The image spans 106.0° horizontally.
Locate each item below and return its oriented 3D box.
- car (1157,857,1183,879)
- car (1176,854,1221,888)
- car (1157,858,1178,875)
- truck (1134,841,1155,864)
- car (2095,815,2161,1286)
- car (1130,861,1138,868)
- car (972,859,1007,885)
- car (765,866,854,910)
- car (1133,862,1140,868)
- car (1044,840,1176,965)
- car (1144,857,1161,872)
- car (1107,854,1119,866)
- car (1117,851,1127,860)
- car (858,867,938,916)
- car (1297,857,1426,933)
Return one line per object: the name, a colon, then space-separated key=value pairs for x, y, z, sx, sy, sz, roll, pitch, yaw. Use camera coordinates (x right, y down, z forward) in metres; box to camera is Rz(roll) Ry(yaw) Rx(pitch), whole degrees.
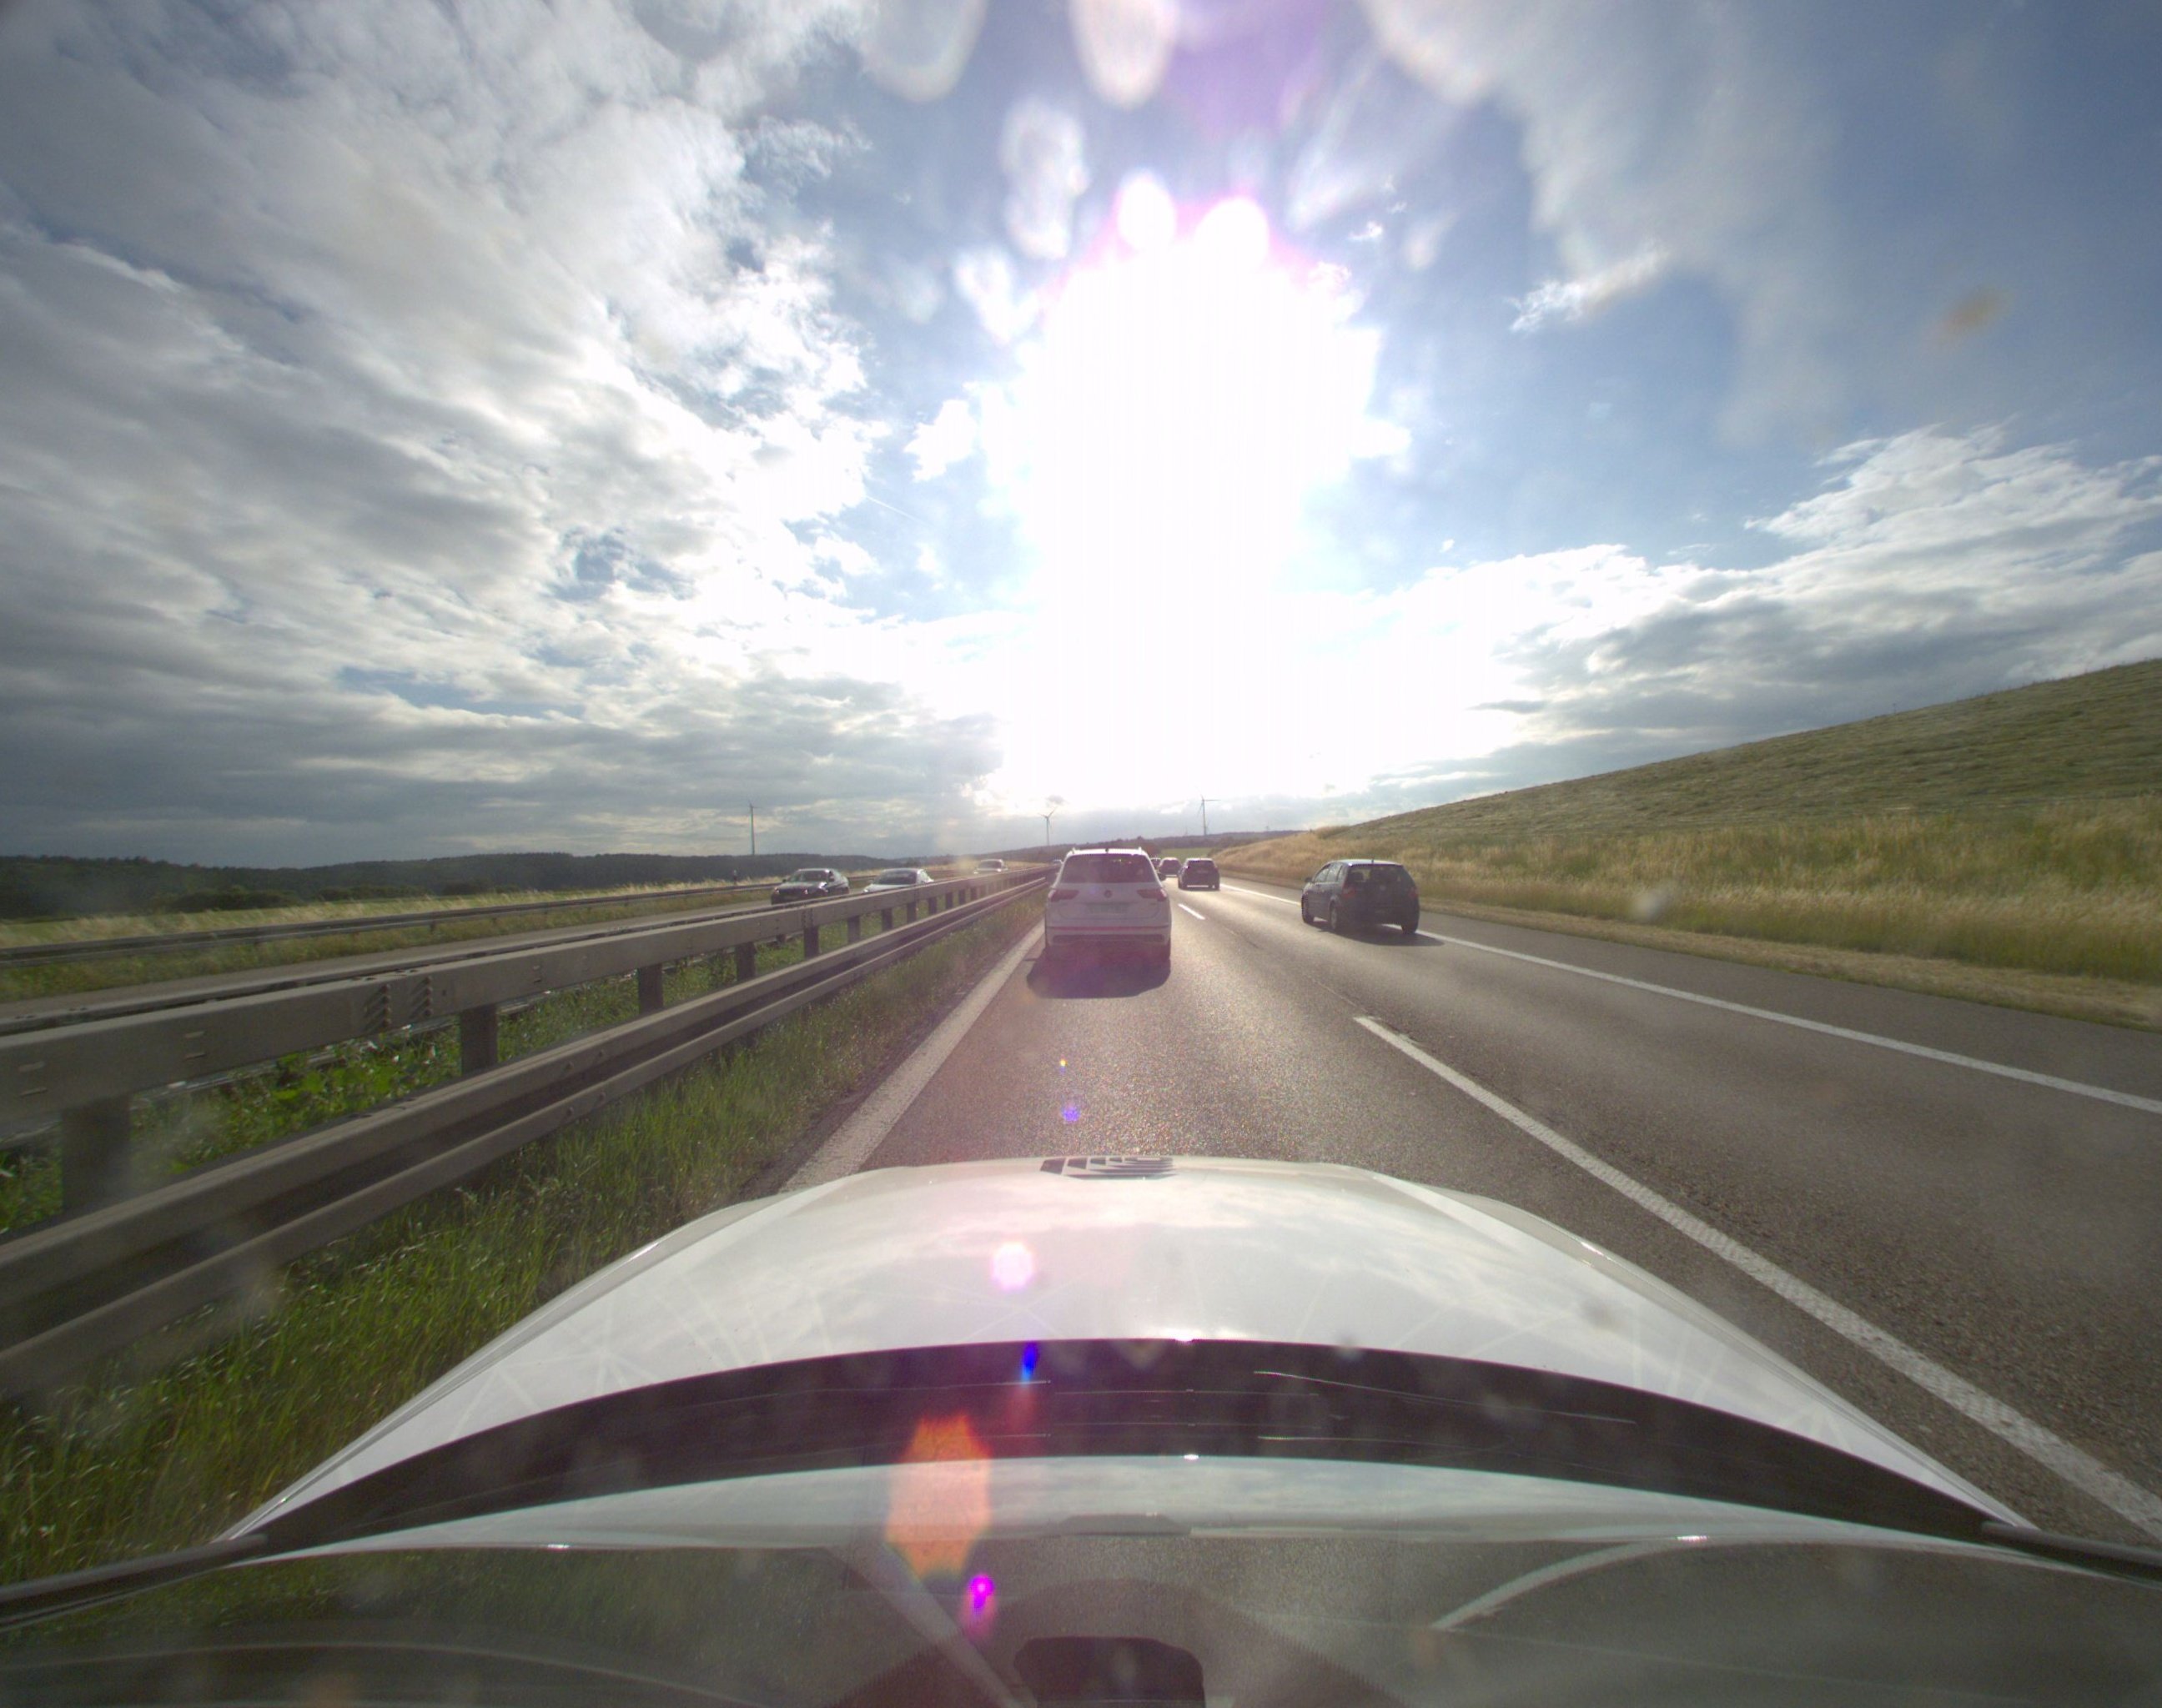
car: x=6.800 y=1.055 z=62.736 sx=1.697 sy=1.650 sz=4.001 roll=-1 pitch=-1 yaw=2
car: x=5.609 y=0.792 z=39.161 sx=1.697 sy=1.546 sz=4.001 roll=-1 pitch=-1 yaw=2
car: x=8.313 y=1.172 z=78.578 sx=1.697 sy=1.546 sz=4.001 roll=-1 pitch=-1 yaw=2
truck: x=10.399 y=-0.214 z=133.995 sx=3.170 sy=3.594 sz=11.141 roll=-1 pitch=0 yaw=4
car: x=4.514 y=0.639 z=0.799 sx=1.814 sy=1.601 sz=4.236 roll=-1 pitch=-1 yaw=2
car: x=12.913 y=2.504 z=198.174 sx=1.696 sy=1.546 sz=4.004 roll=-1 pitch=-1 yaw=4
car: x=-5.859 y=1.142 z=52.631 sx=1.743 sy=1.603 sz=4.266 roll=-1 pitch=-1 yaw=1
car: x=-10.029 y=1.196 z=30.453 sx=1.743 sy=1.479 sz=4.480 roll=-1 pitch=-1 yaw=1
car: x=15.281 y=3.033 z=224.848 sx=1.696 sy=1.546 sz=4.004 roll=-1 pitch=-1 yaw=4
car: x=0.457 y=0.678 z=13.014 sx=1.763 sy=1.676 sz=4.001 roll=-1 pitch=-1 yaw=2
car: x=7.797 y=1.146 z=89.038 sx=1.697 sy=1.546 sz=4.001 roll=-1 pitch=-1 yaw=2
car: x=4.653 y=0.901 z=120.099 sx=1.697 sy=1.650 sz=4.001 roll=-1 pitch=-1 yaw=2
car: x=7.551 y=0.226 z=150.047 sx=1.697 sy=1.546 sz=4.001 roll=-1 pitch=-1 yaw=2
car: x=-6.348 y=1.260 z=28.723 sx=1.743 sy=1.521 sz=4.480 roll=-1 pitch=-1 yaw=1
car: x=5.782 y=0.790 z=17.211 sx=1.599 sy=1.420 sz=3.674 roll=-1 pitch=-1 yaw=3
